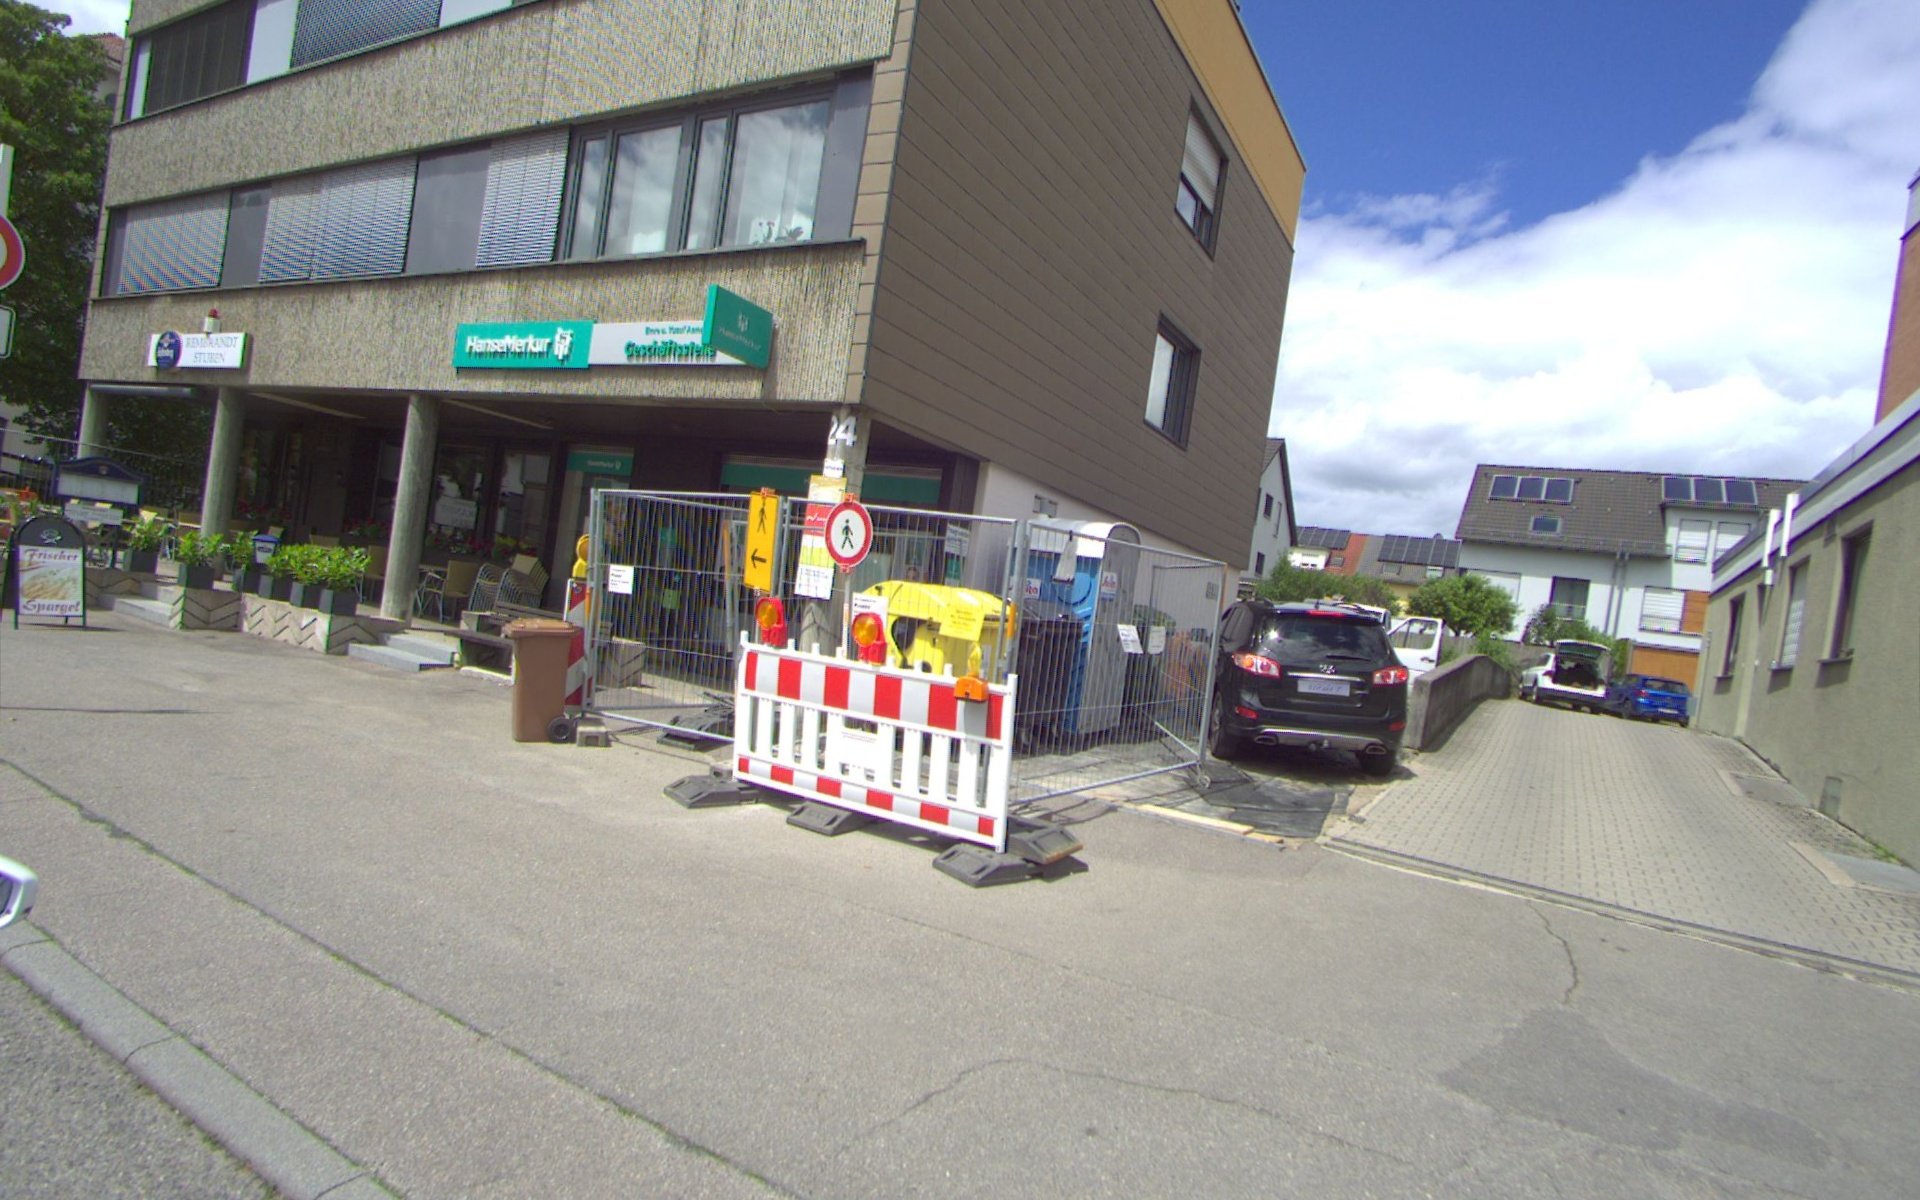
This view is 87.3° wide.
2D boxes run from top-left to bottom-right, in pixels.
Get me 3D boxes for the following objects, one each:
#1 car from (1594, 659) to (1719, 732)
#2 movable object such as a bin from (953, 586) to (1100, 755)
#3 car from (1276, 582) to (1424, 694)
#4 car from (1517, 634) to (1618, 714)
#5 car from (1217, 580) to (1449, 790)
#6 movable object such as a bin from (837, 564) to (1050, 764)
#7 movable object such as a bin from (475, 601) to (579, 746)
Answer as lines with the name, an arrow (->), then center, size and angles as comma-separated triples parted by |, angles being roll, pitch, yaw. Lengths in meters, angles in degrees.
car -> 21.233, 2.854, 30.858 | 1.909, 1.838, 4.001 | 7, -1, 18
movable object such as a bin -> 0.660, 0.686, 9.936 | 1.001, 1.458, 0.780 | 9, 1, 34
car -> 8.889, 0.935, 22.652 | 2.031, 2.070, 4.743 | 7, -1, 33
car -> 18.611, 2.260, 31.005 | 1.910, 2.070, 4.203 | 7, -1, 24
car -> 4.027, 0.782, 11.502 | 1.881, 1.802, 3.774 | 6, 2, 14
movable object such as a bin -> -0.118, 0.567, 9.017 | 1.058, 1.510, 1.484 | 9, 1, 34
movable object such as a bin -> -3.430, 0.570, 7.948 | 0.598, 1.039, 0.673 | 6, 0, -29
